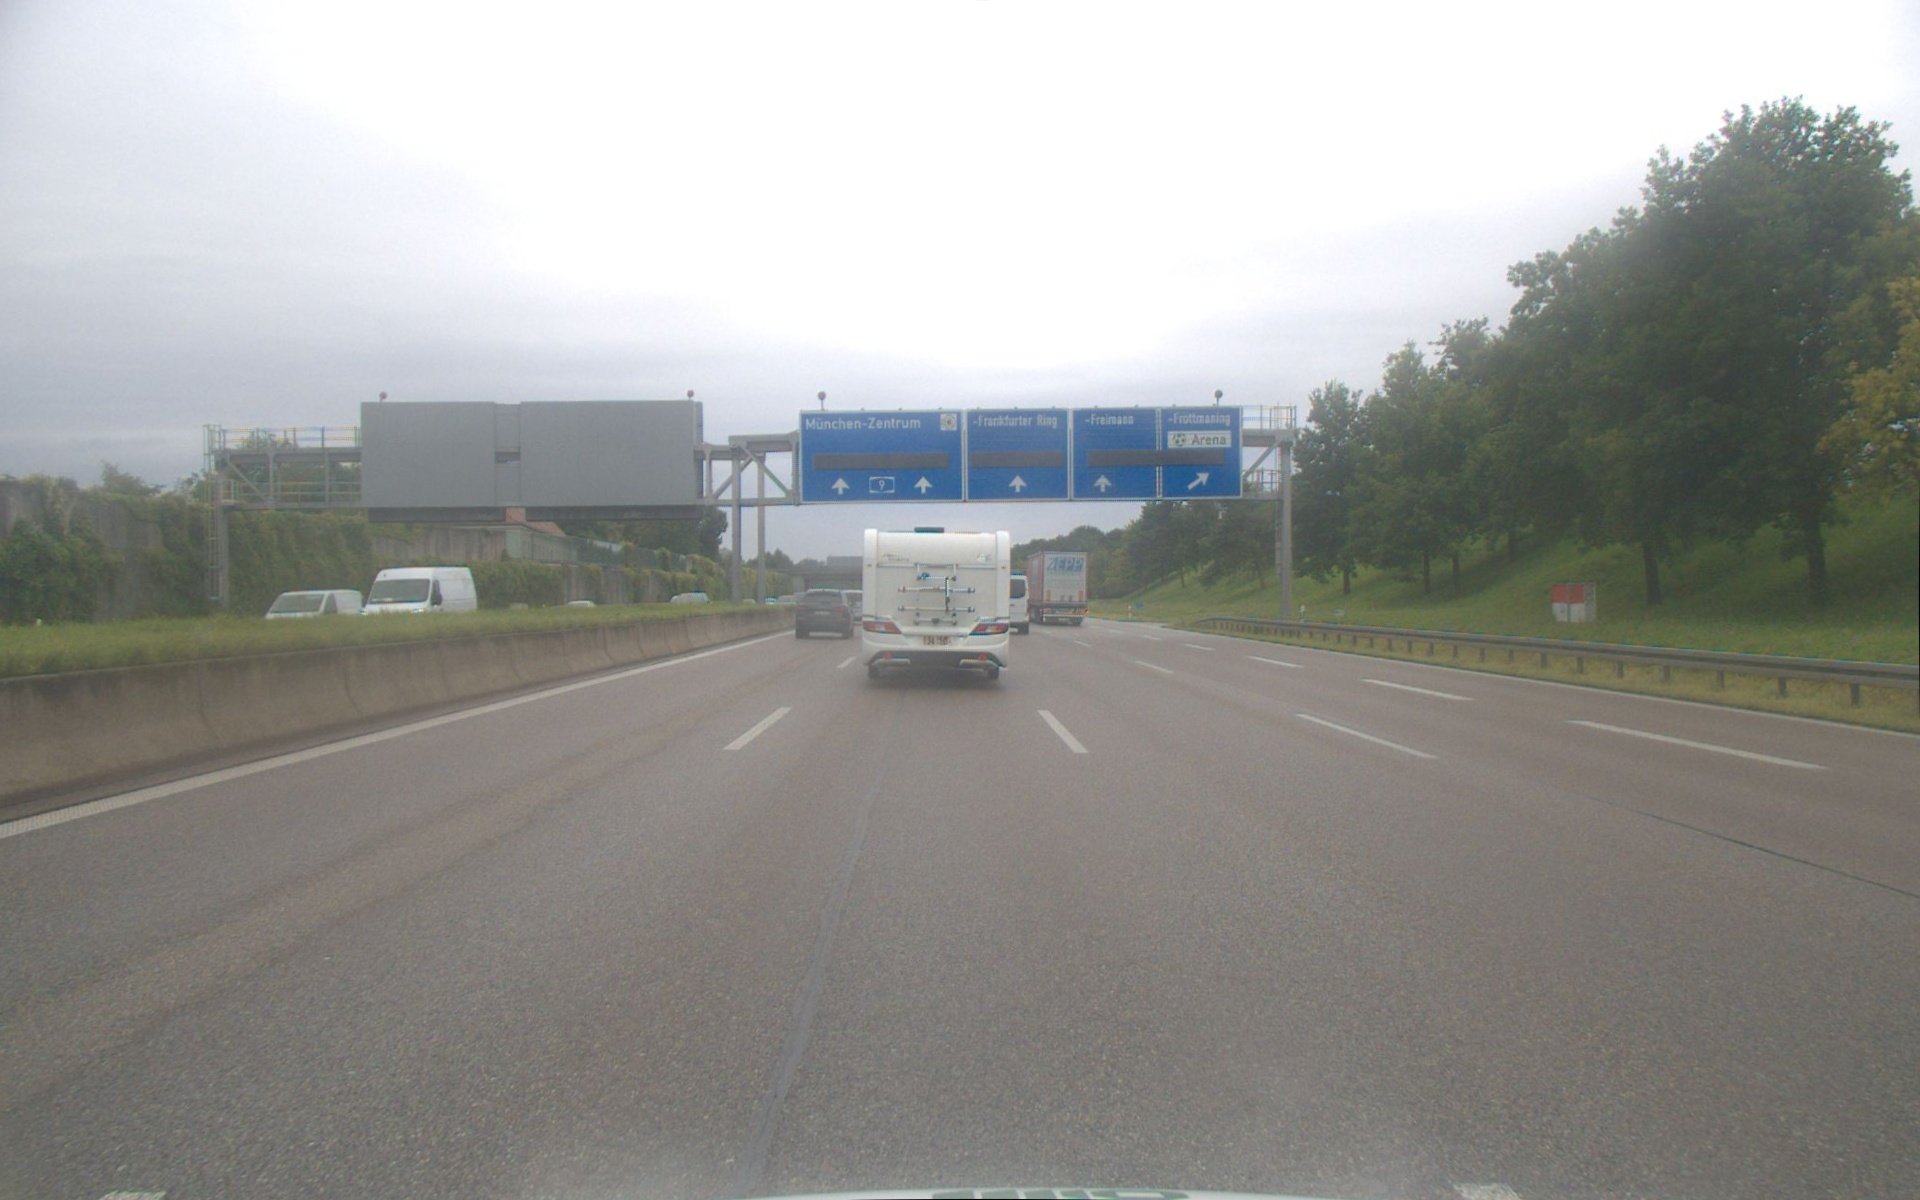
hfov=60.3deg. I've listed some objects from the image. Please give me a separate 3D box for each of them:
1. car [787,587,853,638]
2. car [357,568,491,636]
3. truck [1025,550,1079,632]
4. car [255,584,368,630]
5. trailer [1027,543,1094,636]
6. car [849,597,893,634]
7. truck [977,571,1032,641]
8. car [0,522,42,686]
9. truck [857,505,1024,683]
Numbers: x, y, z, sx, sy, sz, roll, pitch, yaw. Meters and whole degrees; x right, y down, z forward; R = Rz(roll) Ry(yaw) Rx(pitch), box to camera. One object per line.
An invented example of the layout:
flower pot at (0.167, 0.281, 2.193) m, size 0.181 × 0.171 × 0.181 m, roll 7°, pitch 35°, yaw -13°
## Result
car at (-4.798, 0.424, 57.470) m, size 1.953 × 1.628 × 5.122 m, roll 1°, pitch 0°, yaw -1°
car at (-16.639, 0.072, 51.719) m, size 2.083 × 1.945 × 6.532 m, roll 1°, pitch 0°, yaw -1°
truck at (5.683, -0.512, 103.297) m, size 2.986 × 4.924 × 5.850 m, roll 1°, pitch 0°, yaw 0°
car at (-20.218, 0.199, 51.779) m, size 1.841 × 1.367 × 4.526 m, roll 1°, pitch 0°, yaw -2°
trailer at (5.700, -0.552, 95.756) m, size 3.036 × 5.008 × 11.789 m, roll 1°, pitch 0°, yaw 0°
car at (-4.494, 0.783, 84.077) m, size 2.085 × 1.736 × 4.111 m, roll 3°, pitch -1°, yaw -2°
truck at (1.854, 0.271, 70.199) m, size 2.012 × 2.818 × 5.547 m, roll 1°, pitch 0°, yaw -1°
car at (-12.856, 0.025, 19.574) m, size 1.732 × 2.049 × 3.999 m, roll 1°, pitch 0°, yaw -1°
truck at (-0.369, -0.083, 28.982) m, size 2.607 × 2.790 × 5.076 m, roll 1°, pitch 0°, yaw -2°
